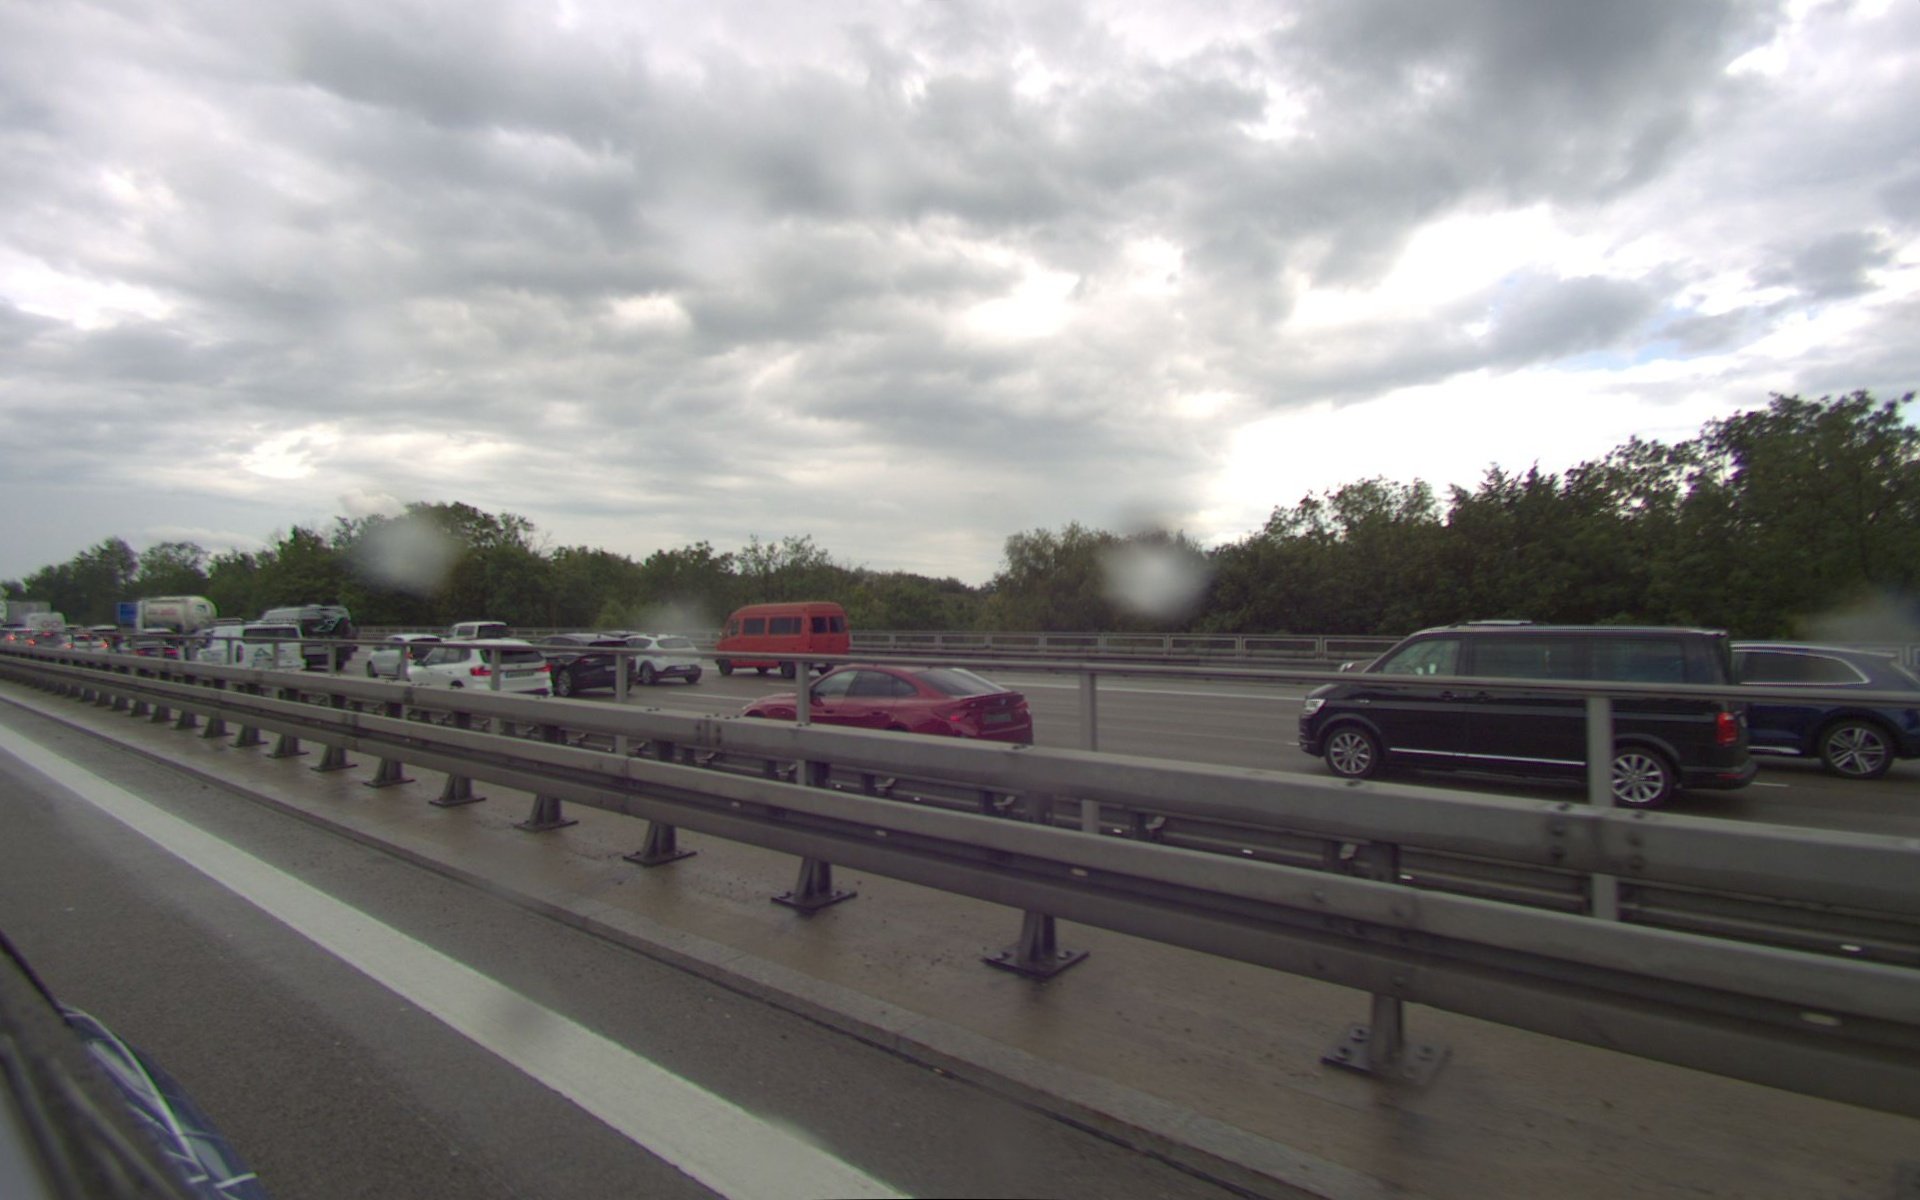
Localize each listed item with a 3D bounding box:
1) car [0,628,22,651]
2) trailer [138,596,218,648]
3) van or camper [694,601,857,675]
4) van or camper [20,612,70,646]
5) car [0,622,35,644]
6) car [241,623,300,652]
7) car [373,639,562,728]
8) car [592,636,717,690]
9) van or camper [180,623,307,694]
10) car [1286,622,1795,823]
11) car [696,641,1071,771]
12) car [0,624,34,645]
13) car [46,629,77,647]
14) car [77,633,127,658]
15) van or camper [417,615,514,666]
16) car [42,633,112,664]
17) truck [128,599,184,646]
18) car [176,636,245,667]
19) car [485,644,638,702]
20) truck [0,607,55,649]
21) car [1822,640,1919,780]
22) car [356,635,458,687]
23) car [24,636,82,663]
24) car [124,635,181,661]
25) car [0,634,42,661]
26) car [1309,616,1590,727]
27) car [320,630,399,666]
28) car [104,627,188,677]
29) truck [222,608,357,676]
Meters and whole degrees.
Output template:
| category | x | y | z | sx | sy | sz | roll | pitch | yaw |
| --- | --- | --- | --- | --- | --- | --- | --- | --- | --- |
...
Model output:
| category | x | y | z | sx | sy | sz | roll | pitch | yaw |
| --- | --- | --- | --- | --- | --- | --- | --- | --- | --- |
| car | -64.957 | 2.635 | 68.335 | 4.598 | 1.522 | 1.772 | -1 | -2 | 39 |
| trailer | -65.124 | 1.858 | 84.104 | 13.208 | 3.988 | 2.436 | -1 | -2 | 40 |
| van or camper | -6.343 | 1.254 | 34.263 | 6.229 | 2.322 | 1.920 | -1 | -2 | 40 |
| van or camper | -74.456 | 2.363 | 82.321 | 7.452 | 2.624 | 2.013 | -1 | -2 | 40 |
| car | -83.106 | 2.908 | 89.145 | 4.644 | 1.871 | 1.776 | -1 | -2 | 40 |
| car | -48.123 | 2.585 | 70.606 | 5.416 | 1.959 | 1.982 | -1 | -2 | 40 |
| car | -10.966 | 1.734 | 22.323 | 5.355 | 1.688 | 1.806 | -1 | -2 | 41 |
| car | -9.476 | 1.894 | 31.254 | 3.996 | 1.512 | 1.772 | -1 | -2 | 39 |
| van or camper | -23.074 | 1.793 | 32.506 | 5.638 | 2.084 | 1.963 | -1 | -2 | 40 |
| car | 6.678 | 1.231 | 12.091 | 5.001 | 1.916 | 1.872 | -1 | -2 | 42 |
| car | -1.228 | 1.300 | 13.911 | 5.359 | 1.403 | 1.855 | -1 | -2 | 39 |
| car | -84.081 | 3.093 | 90.195 | 4.110 | 1.854 | 1.688 | -1 | -2 | 39 |
| car | -83.976 | 3.542 | 94.613 | 3.997 | 1.628 | 1.603 | -1 | -2 | 40 |
| car | -57.984 | 3.038 | 68.363 | 4.415 | 1.660 | 1.813 | -1 | -2 | 39 |
| van or camper | -24.066 | 1.921 | 49.157 | 5.929 | 2.347 | 2.025 | -1 | -2 | 40 |
| car | -45.091 | 2.425 | 51.622 | 5.919 | 1.486 | 1.813 | -1 | -2 | 40 |
| truck | -70.384 | 2.009 | 88.559 | 6.977 | 3.995 | 2.436 | -1 | -2 | 40 |
| car | -37.483 | 2.545 | 50.583 | 4.028 | 1.486 | 1.813 | -1 | -2 | 39 |
| car | -10.946 | 1.935 | 27.600 | 5.010 | 1.420 | 1.660 | -2 | -2 | 39 |
| truck | -100.824 | 3.051 | 109.176 | 10.859 | 4.325 | 3.225 | -1 | -2 | 40 |
| car | 12.568 | 1.284 | 11.602 | 3.996 | 1.591 | 1.660 | -1 | -2 | 39 |
| car | -18.887 | 2.032 | 34.498 | 3.996 | 1.648 | 1.660 | -1 | -2 | 39 |
| car | -53.874 | 2.903 | 60.071 | 5.068 | 1.526 | 1.932 | -1 | -2 | 41 |
| car | -47.363 | 2.784 | 59.349 | 4.573 | 1.486 | 1.813 | -1 | -2 | 41 |
| car | -60.668 | 3.017 | 65.150 | 4.925 | 1.640 | 1.771 | -1 | -2 | 41 |
| car | 9.724 | 1.324 | 20.317 | 4.754 | 1.960 | 2.056 | -1 | -2 | 39 |
| car | -29.884 | 2.344 | 50.309 | 5.062 | 1.722 | 1.813 | -1 | -2 | 40 |
| car | -33.998 | 2.108 | 42.212 | 4.723 | 1.964 | 1.928 | -2 | -2 | 41 |
| truck | -28.207 | 1.709 | 42.394 | 8.745 | 2.622 | 2.125 | -1 | -2 | 39 |
